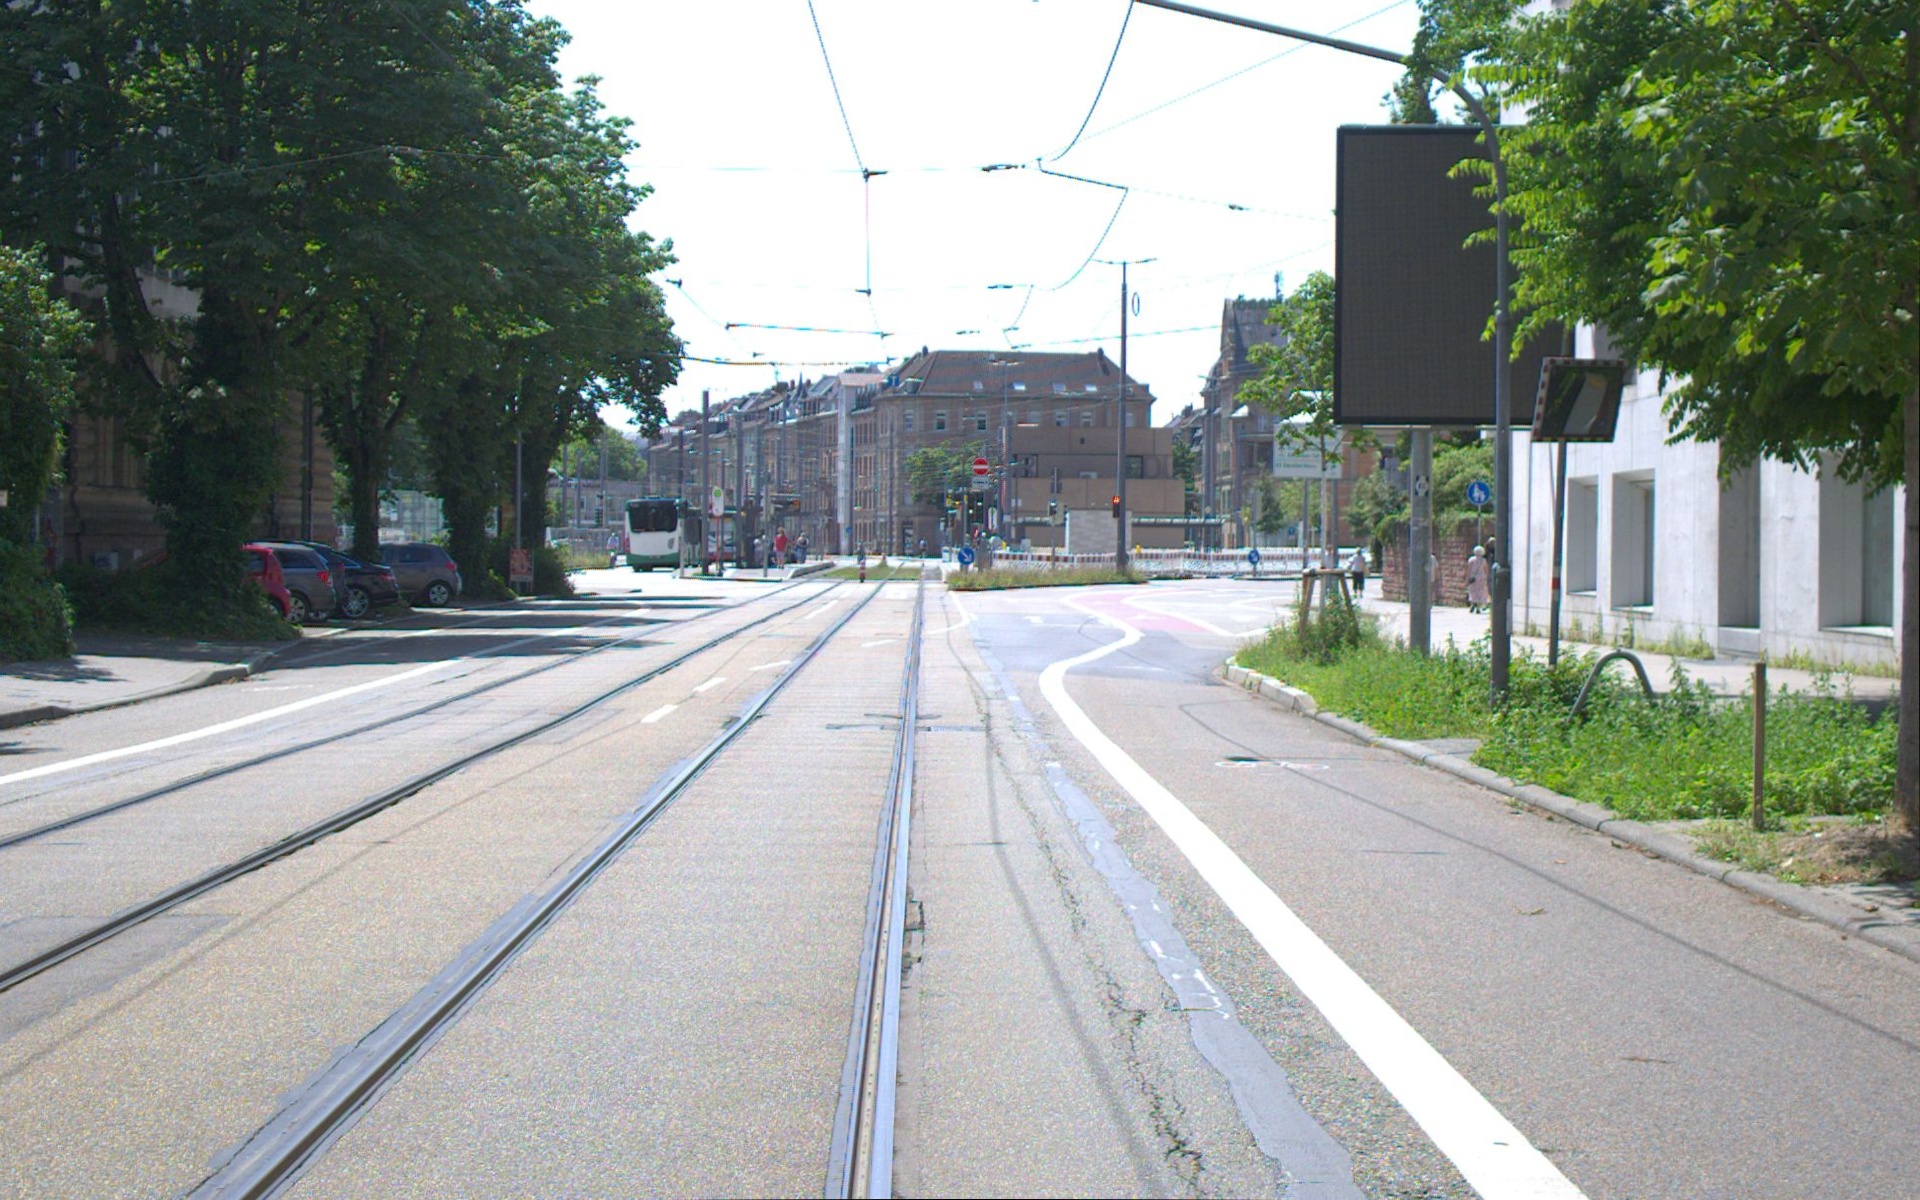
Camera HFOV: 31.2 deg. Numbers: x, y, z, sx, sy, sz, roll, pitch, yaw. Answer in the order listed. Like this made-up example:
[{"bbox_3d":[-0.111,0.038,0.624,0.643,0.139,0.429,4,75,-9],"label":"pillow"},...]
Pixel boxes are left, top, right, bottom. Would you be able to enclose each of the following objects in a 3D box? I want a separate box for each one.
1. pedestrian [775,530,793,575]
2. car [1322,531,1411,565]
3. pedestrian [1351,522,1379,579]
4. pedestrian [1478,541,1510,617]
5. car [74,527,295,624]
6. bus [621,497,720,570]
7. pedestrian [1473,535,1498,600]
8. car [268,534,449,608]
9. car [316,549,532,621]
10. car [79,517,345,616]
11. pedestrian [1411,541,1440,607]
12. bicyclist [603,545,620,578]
[{"bbox_3d":[-7.526,-2.049,147.217,0.672,1.903,0.641,1,1,-10],"label":"pedestrian"},{"bbox_3d":[18.257,-2.326,154.391,1.997,1.433,4.696,1,0,34],"label":"car"},{"bbox_3d":[12.925,-1.578,109.799,0.814,1.802,0.700,1,1,4],"label":"pedestrian"},{"bbox_3d":[12.665,-0.500,81.491,0.627,1.767,0.718,-1,3,15],"label":"pedestrian"},{"bbox_3d":[-13.226,-0.421,58.647,3.341,1.511,1.670,2,0,-26],"label":"car"},{"bbox_3d":[-13.181,-3.062,158.097,3.010,3.147,17.499,1,1,0],"label":"bus"},{"bbox_3d":[12.433,-0.761,81.299,0.515,1.527,0.597,1,1,5],"label":"pedestrian"},{"bbox_3d":[-13.646,-0.650,77.999,3.664,1.515,1.670,2,0,-28],"label":"car"},{"bbox_3d":[-10.695,-0.293,68.604,3.920,1.369,1.670,0,1,-26],"label":"car"},{"bbox_3d":[-13.400,-0.595,61.683,4.307,1.579,1.669,2,0,-29],"label":"car"},{"bbox_3d":[11.754,-0.664,86.820,0.661,1.641,0.624,1,1,5],"label":"pedestrian"},{"bbox_3d":[-18.119,-1.999,178.814,0.820,1.704,0.770,1,1,-2],"label":"bicyclist"}]
